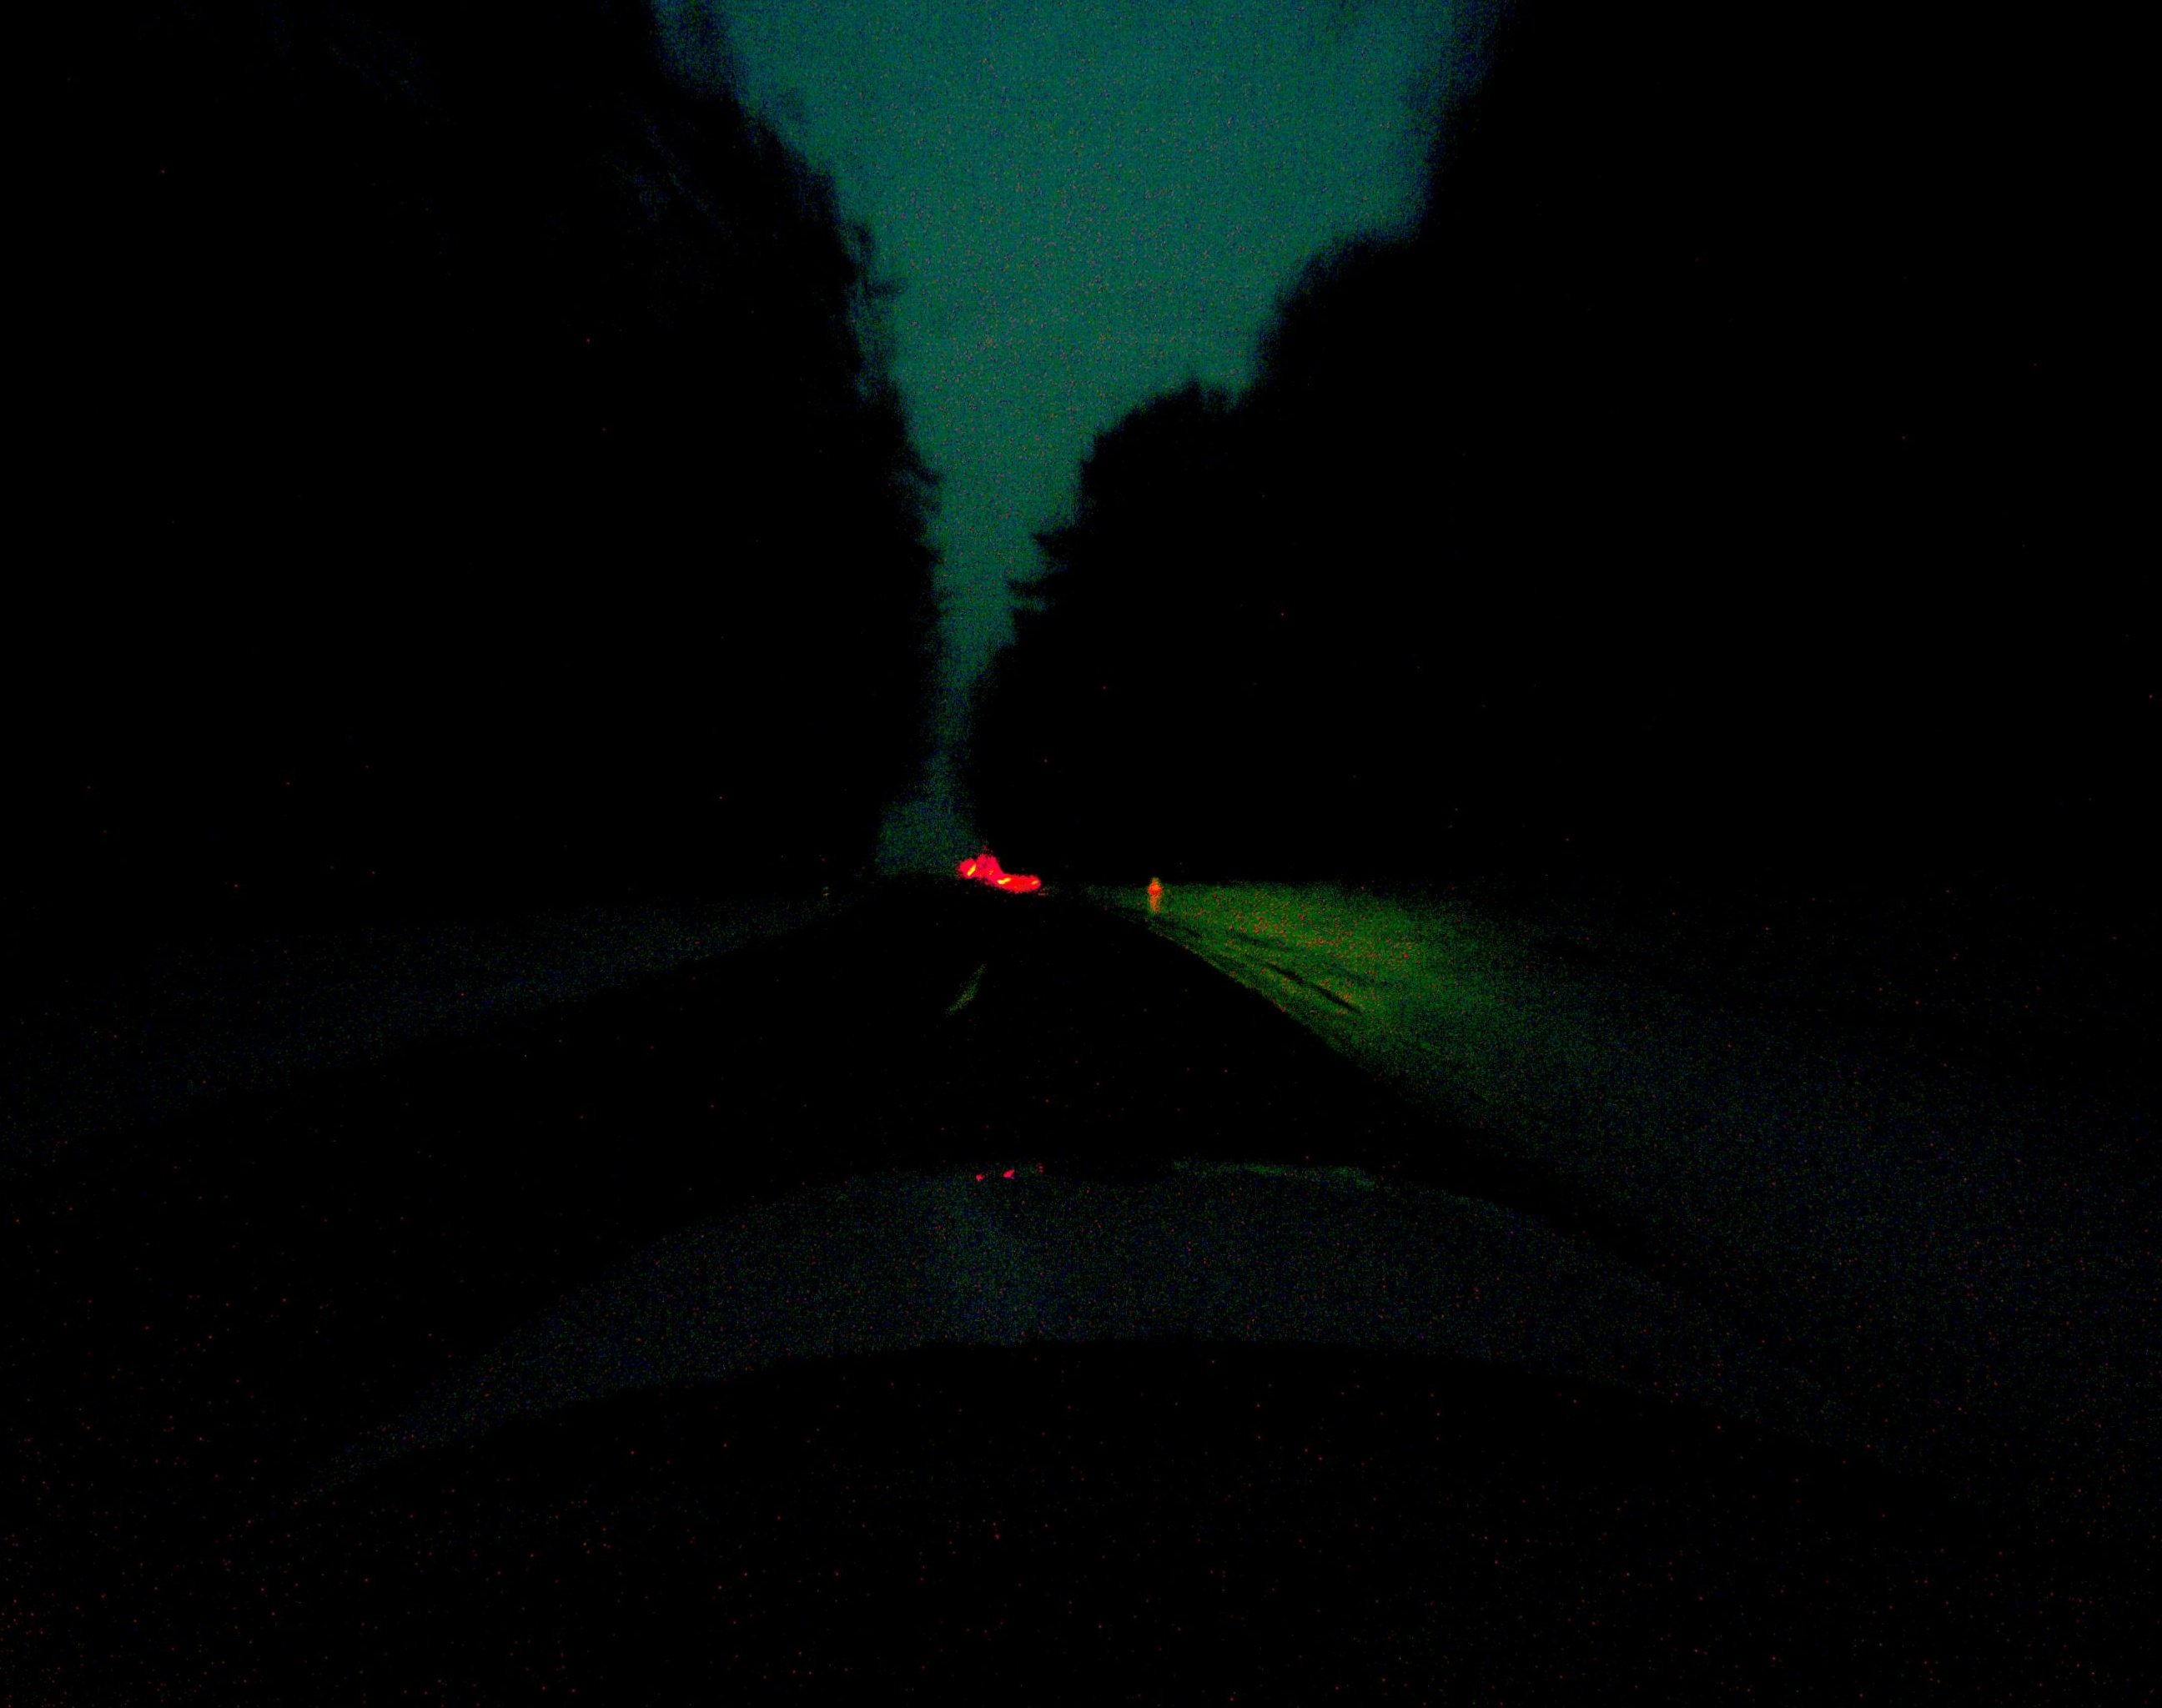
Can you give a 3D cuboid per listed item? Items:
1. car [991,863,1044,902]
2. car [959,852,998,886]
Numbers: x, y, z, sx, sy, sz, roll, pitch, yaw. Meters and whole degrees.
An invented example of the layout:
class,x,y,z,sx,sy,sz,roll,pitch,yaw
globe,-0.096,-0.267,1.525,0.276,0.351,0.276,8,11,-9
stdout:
class,x,y,z,sx,sy,sz,roll,pitch,yaw
car,-2.565,1.105,32.531,1.943,1.381,3.992,3,-1,-5
car,-6.120,0.895,48.303,1.993,1.783,3.986,5,-2,-10
